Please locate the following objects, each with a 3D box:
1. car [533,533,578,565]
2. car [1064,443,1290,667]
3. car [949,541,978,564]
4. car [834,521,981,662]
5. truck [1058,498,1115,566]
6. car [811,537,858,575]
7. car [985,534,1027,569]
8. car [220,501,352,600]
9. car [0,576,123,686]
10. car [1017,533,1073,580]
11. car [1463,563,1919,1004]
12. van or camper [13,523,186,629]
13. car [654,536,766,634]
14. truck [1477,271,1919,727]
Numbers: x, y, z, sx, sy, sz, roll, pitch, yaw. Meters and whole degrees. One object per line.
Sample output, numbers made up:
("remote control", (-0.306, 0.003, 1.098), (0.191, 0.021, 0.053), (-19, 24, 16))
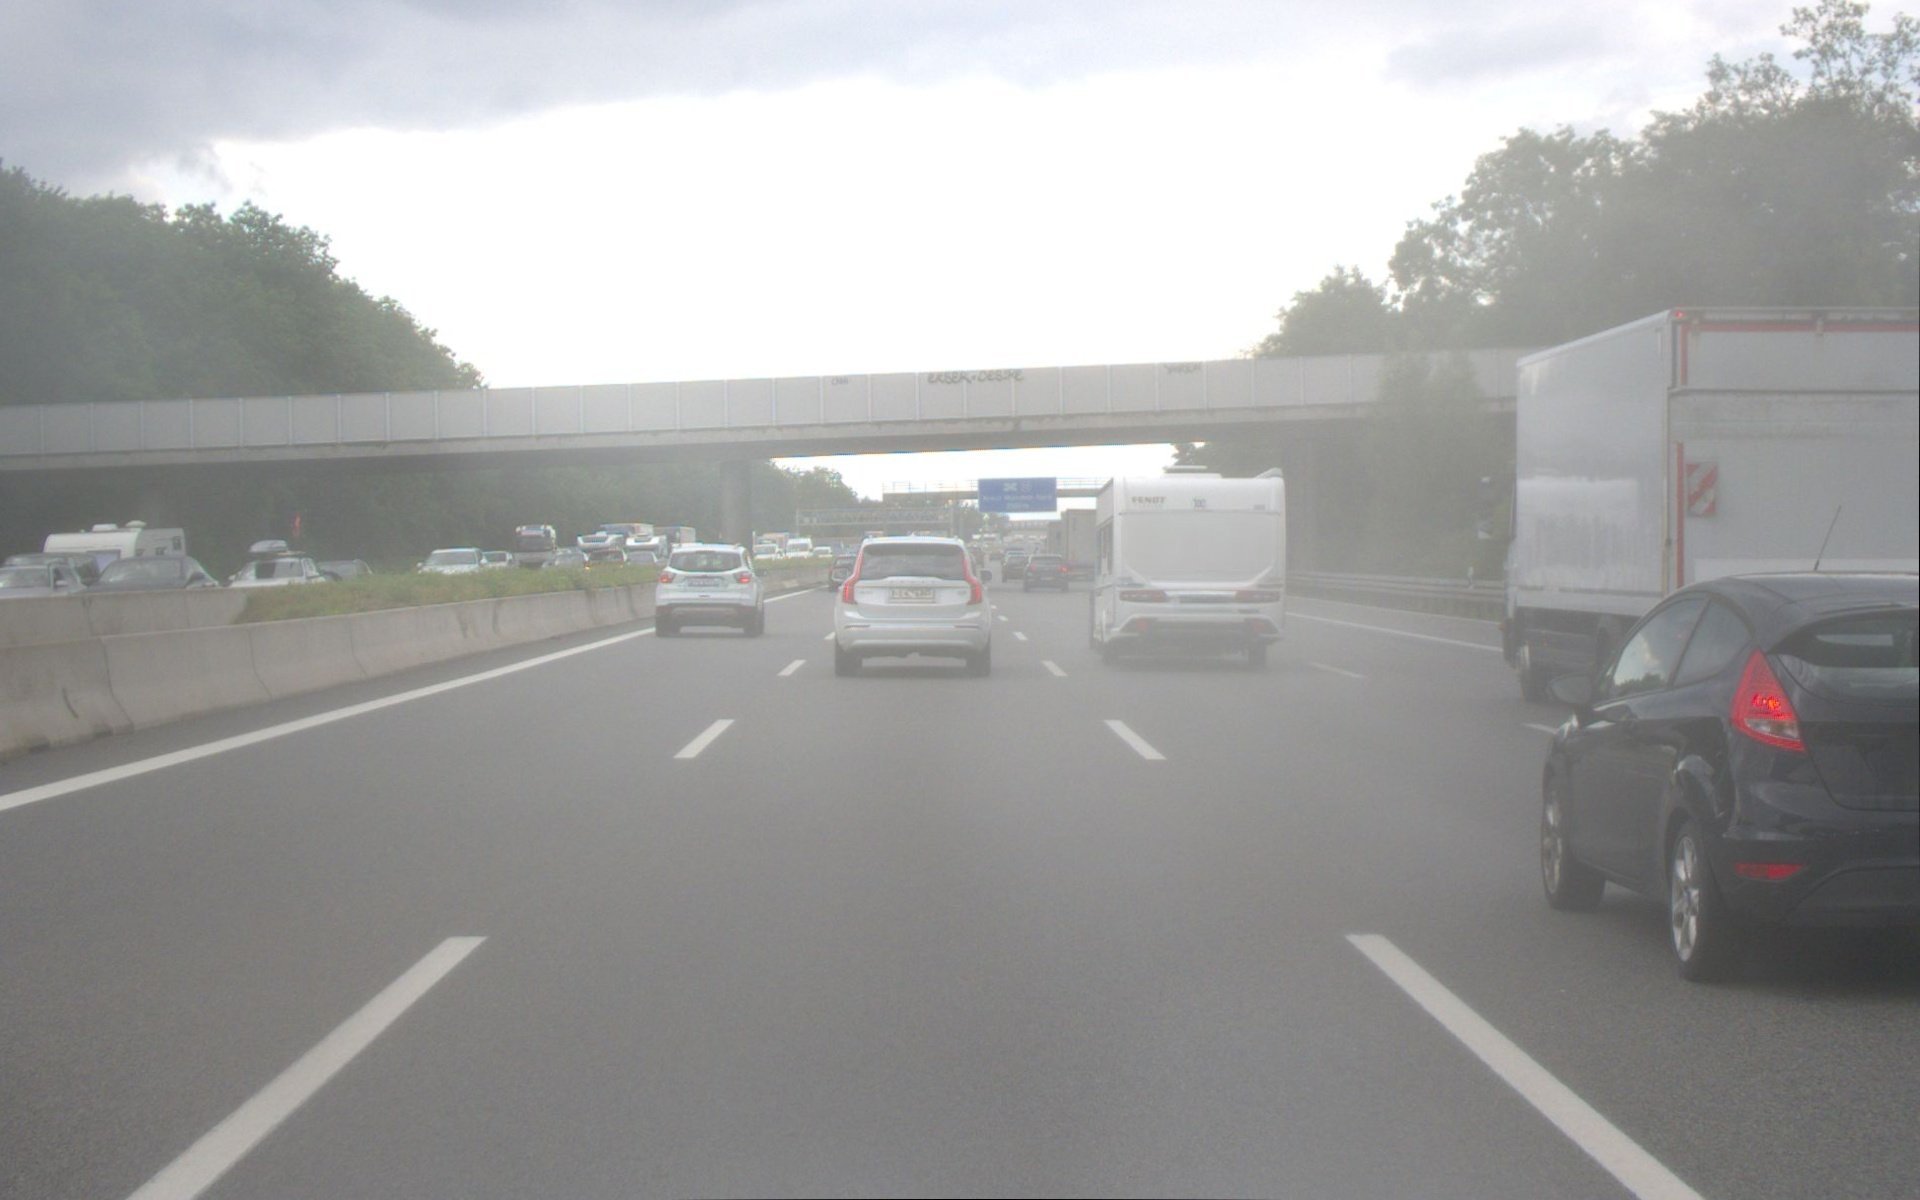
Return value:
("car", (-25.022, -3.190, 212.804), (2.220, 1.945, 4.829), (0, 1, 0))
("car", (2.918, -0.660, 48.175), (2.567, 2.885, 7.534), (0, 1, -1))
("car", (0.254, -3.448, 249.514), (1.881, 1.680, 4.001), (0, 1, -4))
("car", (-0.636, -0.154, 43.868), (1.781, 1.710, 4.353), (0, 1, 0))
("truck", (7.126, -3.841, 193.956), (2.906, 3.797, 7.274), (0, 1, 0))
("car", (-5.027, -1.765, 137.974), (1.781, 1.476, 4.353), (0, 1, -1))
("car", (2.376, -2.529, 178.266), (2.043, 1.817, 4.904), (0, 1, 0))
("car", (-15.275, -1.149, 78.133), (1.993, 2.174, 5.290), (0, 1, 0))
("car", (-18.914, 0.596, 70.797), (1.993, 2.075, 5.648), (0, 1, 0))
("car", (3.318, -1.725, 135.120), (2.043, 1.817, 4.904), (0, 1, 0))
("car", (3.238, 0.582, 13.448), (1.885, 1.402, 4.283), (0, 1, 0))
("van or camper", (-22.780, -0.701, 91.421), (2.605, 2.697, 8.125), (0, 1, 0))
("car", (-4.563, -0.315, 63.332), (1.815, 1.684, 4.853), (0, 2, -2))
("truck", (7.241, -0.927, 32.805), (3.133, 3.697, 9.848), (0, 1, 0))
